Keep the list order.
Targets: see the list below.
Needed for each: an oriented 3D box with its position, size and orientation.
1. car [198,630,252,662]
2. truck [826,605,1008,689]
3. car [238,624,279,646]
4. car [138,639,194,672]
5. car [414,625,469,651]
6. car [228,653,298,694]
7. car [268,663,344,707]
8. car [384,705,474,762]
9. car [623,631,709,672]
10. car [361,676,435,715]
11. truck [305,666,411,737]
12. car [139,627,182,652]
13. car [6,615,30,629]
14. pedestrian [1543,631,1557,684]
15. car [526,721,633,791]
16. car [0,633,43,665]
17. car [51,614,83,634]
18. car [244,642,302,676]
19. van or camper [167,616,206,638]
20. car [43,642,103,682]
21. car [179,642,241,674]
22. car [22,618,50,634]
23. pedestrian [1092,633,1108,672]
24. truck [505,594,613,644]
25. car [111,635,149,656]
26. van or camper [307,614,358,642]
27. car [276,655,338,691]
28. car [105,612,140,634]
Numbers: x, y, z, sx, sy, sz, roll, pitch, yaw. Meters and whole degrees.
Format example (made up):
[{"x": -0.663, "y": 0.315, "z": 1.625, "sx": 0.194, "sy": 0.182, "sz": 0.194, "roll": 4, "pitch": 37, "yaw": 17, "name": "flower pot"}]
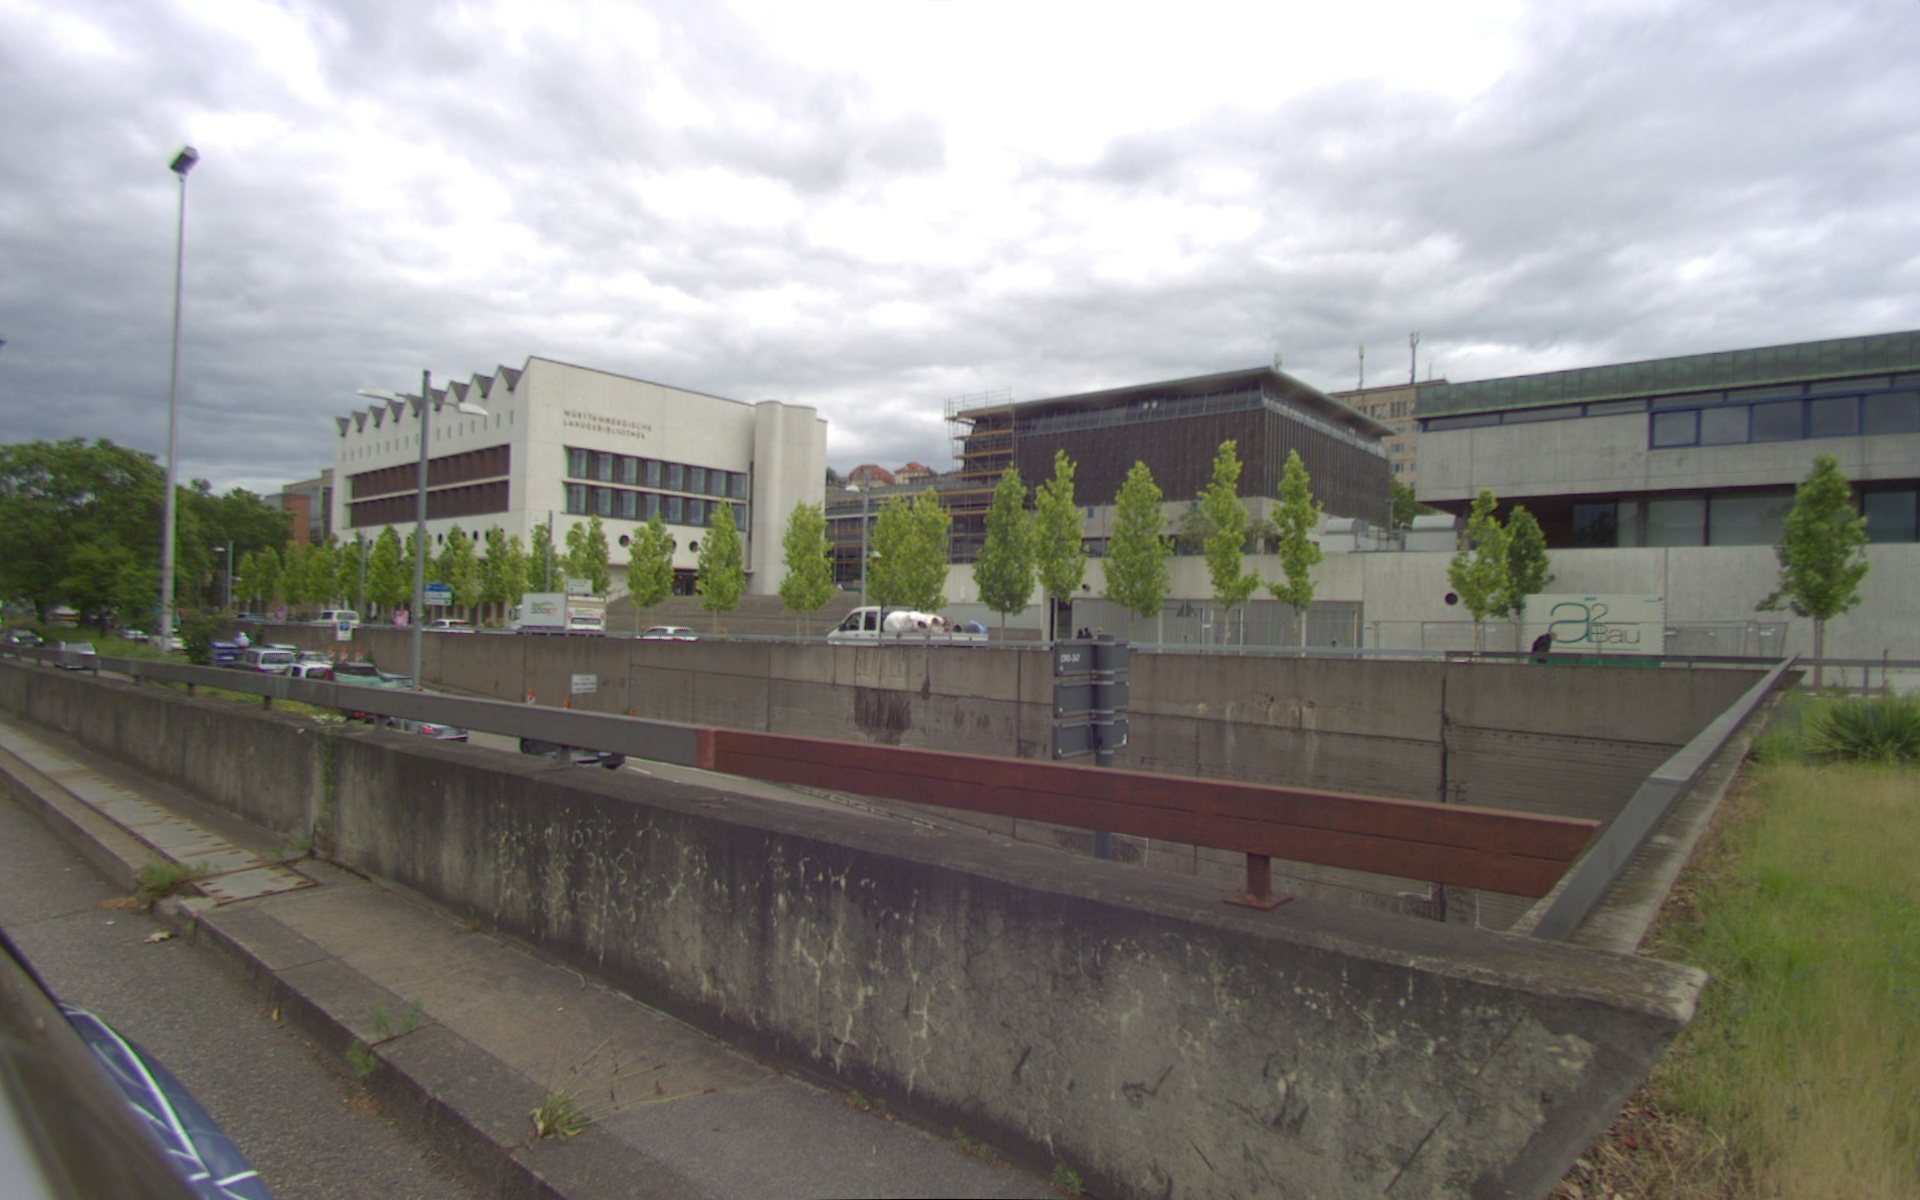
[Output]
[{"x": -49.778, "y": 3.130, "z": 68.533, "sx": 3.998, "sy": 2.029, "sz": 1.973, "roll": -2, "pitch": -6, "yaw": 41, "name": "car"}, {"x": -1.723, "y": 1.699, "z": 37.463, "sx": 7.077, "sy": 2.838, "sz": 2.437, "roll": -2, "pitch": -3, "yaw": 42, "name": "truck"}, {"x": -59.880, "y": 2.972, "z": 86.342, "sx": 3.998, "sy": 1.830, "sz": 1.973, "roll": -2, "pitch": -2, "yaw": 41, "name": "car"}, {"x": -53.425, "y": 3.715, "z": 68.039, "sx": 4.849, "sy": 2.148, "sz": 1.973, "roll": -2, "pitch": -6, "yaw": 41, "name": "car"}, {"x": -32.144, "y": 2.344, "z": 62.691, "sx": 4.269, "sy": 1.586, "sz": 1.700, "roll": -2, "pitch": -2, "yaw": 42, "name": "car"}, {"x": -37.208, "y": 3.904, "z": 53.978, "sx": 4.330, "sy": 2.029, "sz": 1.973, "roll": -2, "pitch": -6, "yaw": 41, "name": "car"}, {"x": -31.998, "y": 4.136, "z": 49.457, "sx": 3.998, "sy": 2.029, "sz": 1.973, "roll": -2, "pitch": -6, "yaw": 41, "name": "car"}, {"x": -20.692, "y": 5.141, "z": 39.396, "sx": 3.925, "sy": 1.829, "sz": 1.771, "roll": -2, "pitch": -2, "yaw": 40, "name": "car"}, {"x": -13.978, "y": 2.417, "z": 48.024, "sx": 4.255, "sy": 1.830, "sz": 1.973, "roll": -2, "pitch": -2, "yaw": 41, "name": "car"}, {"x": -27.673, "y": 4.673, "z": 49.798, "sx": 3.998, "sy": 1.564, "sz": 1.973, "roll": -1, "pitch": -1, "yaw": 41, "name": "car"}, {"x": -26.415, "y": 4.333, "z": 44.316, "sx": 5.976, "sy": 2.711, "sz": 2.294, "roll": -2, "pitch": -2, "yaw": 42, "name": "truck"}, {"x": -67.147, "y": 3.306, "z": 84.992, "sx": 4.653, "sy": 2.029, "sz": 1.973, "roll": -2, "pitch": -2, "yaw": 41, "name": "car"}, {"x": -105.693, "y": 2.438, "z": 113.526, "sx": 3.360, "sy": 1.497, "sz": 1.653, "roll": -2, "pitch": -2, "yaw": 41, "name": "car"}, {"x": 17.455, "y": 1.696, "z": 29.928, "sx": 0.316, "sy": 1.533, "sz": 0.314, "roll": -1, "pitch": -1, "yaw": 34, "name": "pedestrian"}, {"x": -14.142, "y": 5.716, "z": 37.522, "sx": 4.227, "sy": 1.970, "sz": 1.973, "roll": -1, "pitch": -1, "yaw": 41, "name": "car"}, {"x": -61.977, "y": 3.168, "z": 66.538, "sx": 3.998, "sy": 2.029, "sz": 1.973, "roll": -1, "pitch": -2, "yaw": 41, "name": "car"}, {"x": -94.791, "y": 2.530, "z": 107.410, "sx": 3.997, "sy": 2.029, "sz": 1.973, "roll": -1, "pitch": -1, "yaw": 41, "name": "car"}, {"x": -43.141, "y": 3.711, "z": 63.529, "sx": 3.998, "sy": 2.029, "sz": 1.973, "roll": -2, "pitch": -6, "yaw": 41, "name": "car"}, {"x": -73.826, "y": 2.628, "z": 96.605, "sx": 4.552, "sy": 2.029, "sz": 1.974, "roll": -2, "pitch": -2, "yaw": 39, "name": "van or camper"}, {"x": -50.088, "y": 3.464, "z": 57.119, "sx": 3.998, "sy": 2.029, "sz": 1.972, "roll": 0, "pitch": -3, "yaw": 41, "name": "car"}, {"x": -44.082, "y": 3.399, "z": 59.480, "sx": 4.279, "sy": 1.757, "sz": 1.973, "roll": -2, "pitch": -6, "yaw": 41, "name": "car"}, {"x": -89.055, "y": 2.514, "z": 97.533, "sx": 3.360, "sy": 1.497, "sz": 1.653, "roll": -2, "pitch": -2, "yaw": 41, "name": "car"}, {"x": 5.606, "y": 2.093, "z": 40.527, "sx": 0.461, "sy": 1.533, "sz": 0.424, "roll": -1, "pitch": -1, "yaw": 34, "name": "pedestrian"}, {"x": -24.368, "y": 1.209, "z": 61.354, "sx": 7.250, "sy": 2.809, "sz": 3.197, "roll": -2, "pitch": -2, "yaw": 42, "name": "truck"}, {"x": -61.530, "y": 3.339, "z": 74.991, "sx": 3.360, "sy": 1.497, "sz": 1.653, "roll": -1, "pitch": -2, "yaw": 41, "name": "car"}, {"x": -45.957, "y": 2.073, "z": 74.095, "sx": 4.554, "sy": 2.029, "sz": 1.973, "roll": -2, "pitch": -2, "yaw": 41, "name": "van or camper"}, {"x": -38.720, "y": 4.308, "z": 59.971, "sx": 3.998, "sy": 2.029, "sz": 1.973, "roll": -2, "pitch": -6, "yaw": 41, "name": "car"}, {"x": -84.352, "y": 2.364, "z": 101.930, "sx": 3.998, "sy": 2.029, "sz": 1.973, "roll": -2, "pitch": -6, "yaw": 41, "name": "car"}]
